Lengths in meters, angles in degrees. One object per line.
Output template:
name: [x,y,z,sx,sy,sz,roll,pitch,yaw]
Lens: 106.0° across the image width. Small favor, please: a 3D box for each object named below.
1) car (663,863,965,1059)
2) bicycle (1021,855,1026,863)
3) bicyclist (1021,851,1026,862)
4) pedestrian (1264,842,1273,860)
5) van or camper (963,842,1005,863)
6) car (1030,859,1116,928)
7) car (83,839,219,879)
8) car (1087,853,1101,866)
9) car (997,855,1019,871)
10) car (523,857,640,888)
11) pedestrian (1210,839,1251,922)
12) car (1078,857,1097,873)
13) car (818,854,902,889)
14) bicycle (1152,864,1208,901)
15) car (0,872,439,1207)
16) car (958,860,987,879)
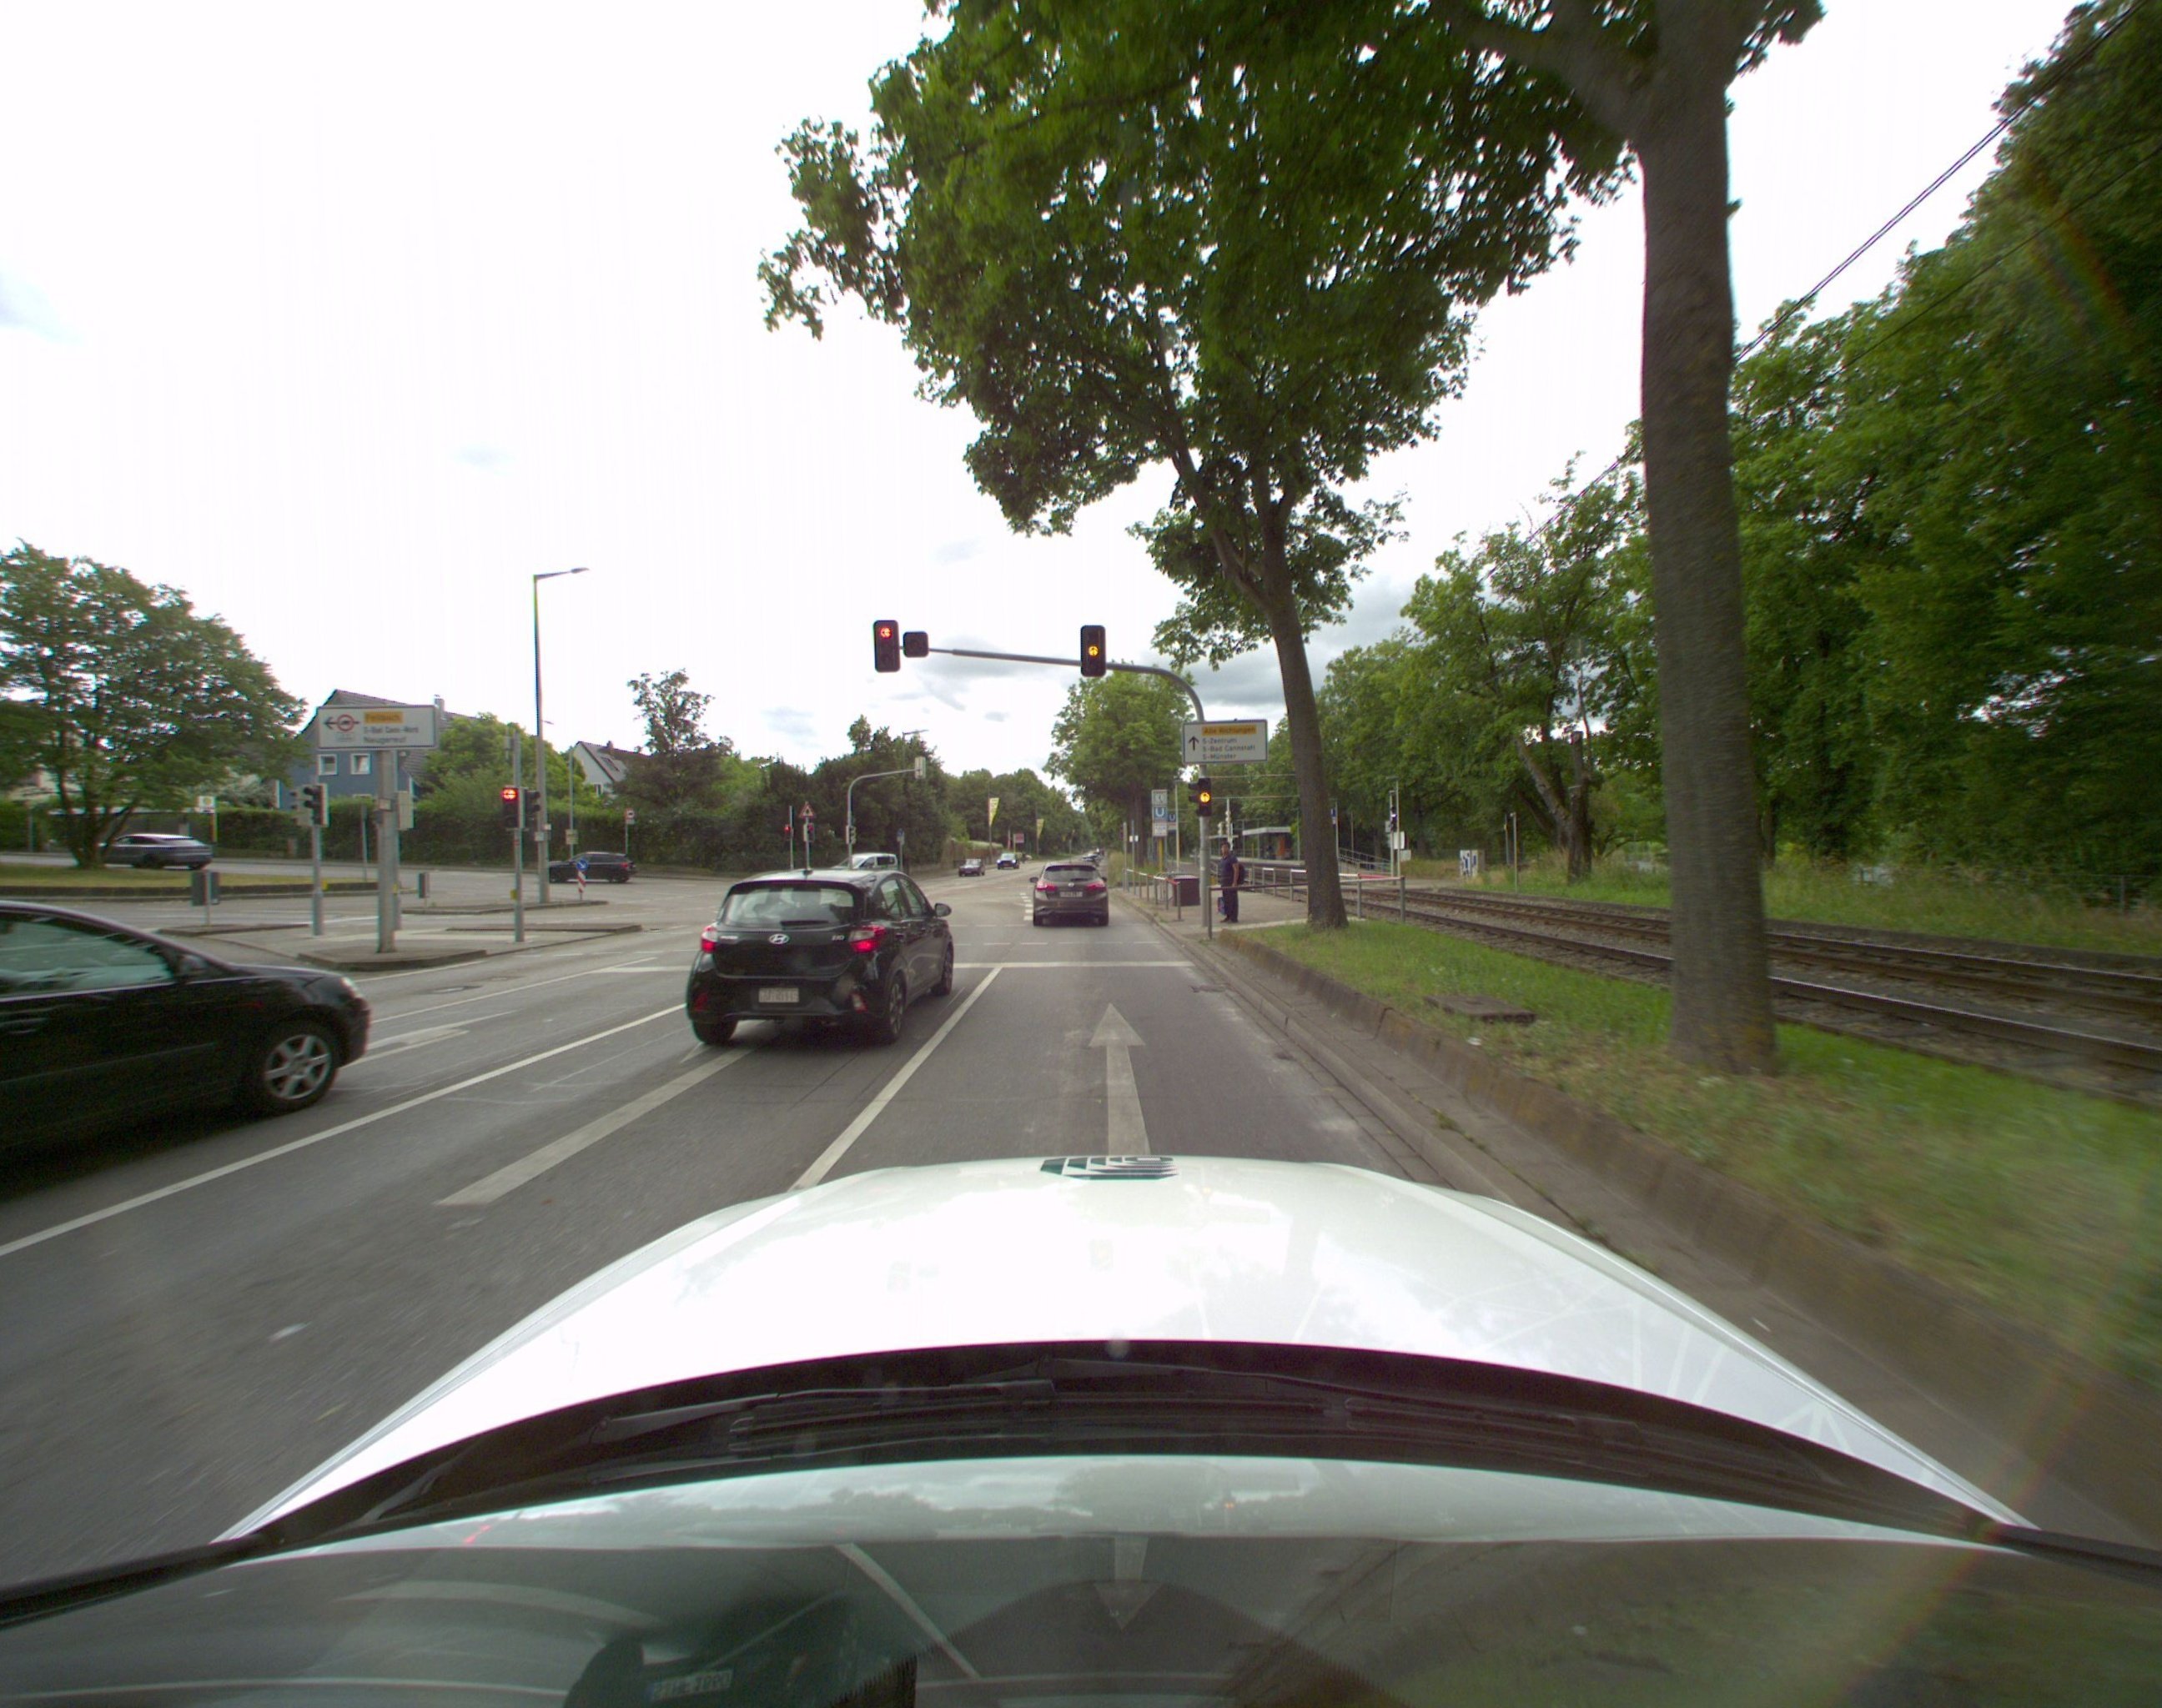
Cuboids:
car: [-2.343,0.852,8.178,1.697,1.480,3.669,-1,0,2]
bicycle: [-8.313,0.677,118.267,0.640,1.145,2.145,1,0,-2]
bicyclist: [-8.305,0.382,118.228,0.640,1.535,0.977,1,0,-3]
pedestrian: [15.885,-0.213,69.006,0.715,1.511,0.725,1,-1,4]
van or camper: [-18.051,-0.343,152.061,7.115,3.371,2.797,4,0,1]
car: [-0.101,0.898,20.253,1.829,1.528,3.933,0,0,4]
car: [-44.277,0.240,38.847,4.409,1.811,1.952,0,0,4]
car: [1.609,0.652,100.720,1.496,1.528,3.675,0,0,4]
car: [-7.877,1.002,88.683,1.896,1.679,5.079,-1,0,0]
car: [-24.380,0.870,39.919,4.540,1.424,1.936,0,0,-19]
pedestrian: [3.294,0.576,18.011,0.748,1.737,0.841,-4,-1,6]
car: [0.642,1.091,81.870,1.703,1.475,3.675,0,0,4]
car: [-12.610,0.952,46.745,1.924,1.874,4.570,0,0,30]
bicycle: [3.245,0.924,26.740,1.670,1.090,0.601,-4,-1,-2]
car: [-5.683,0.906,4.216,1.550,1.466,3.809,-3,0,2]
car: [-8.694,1.264,65.501,1.736,1.464,4.342,1,-1,0]
